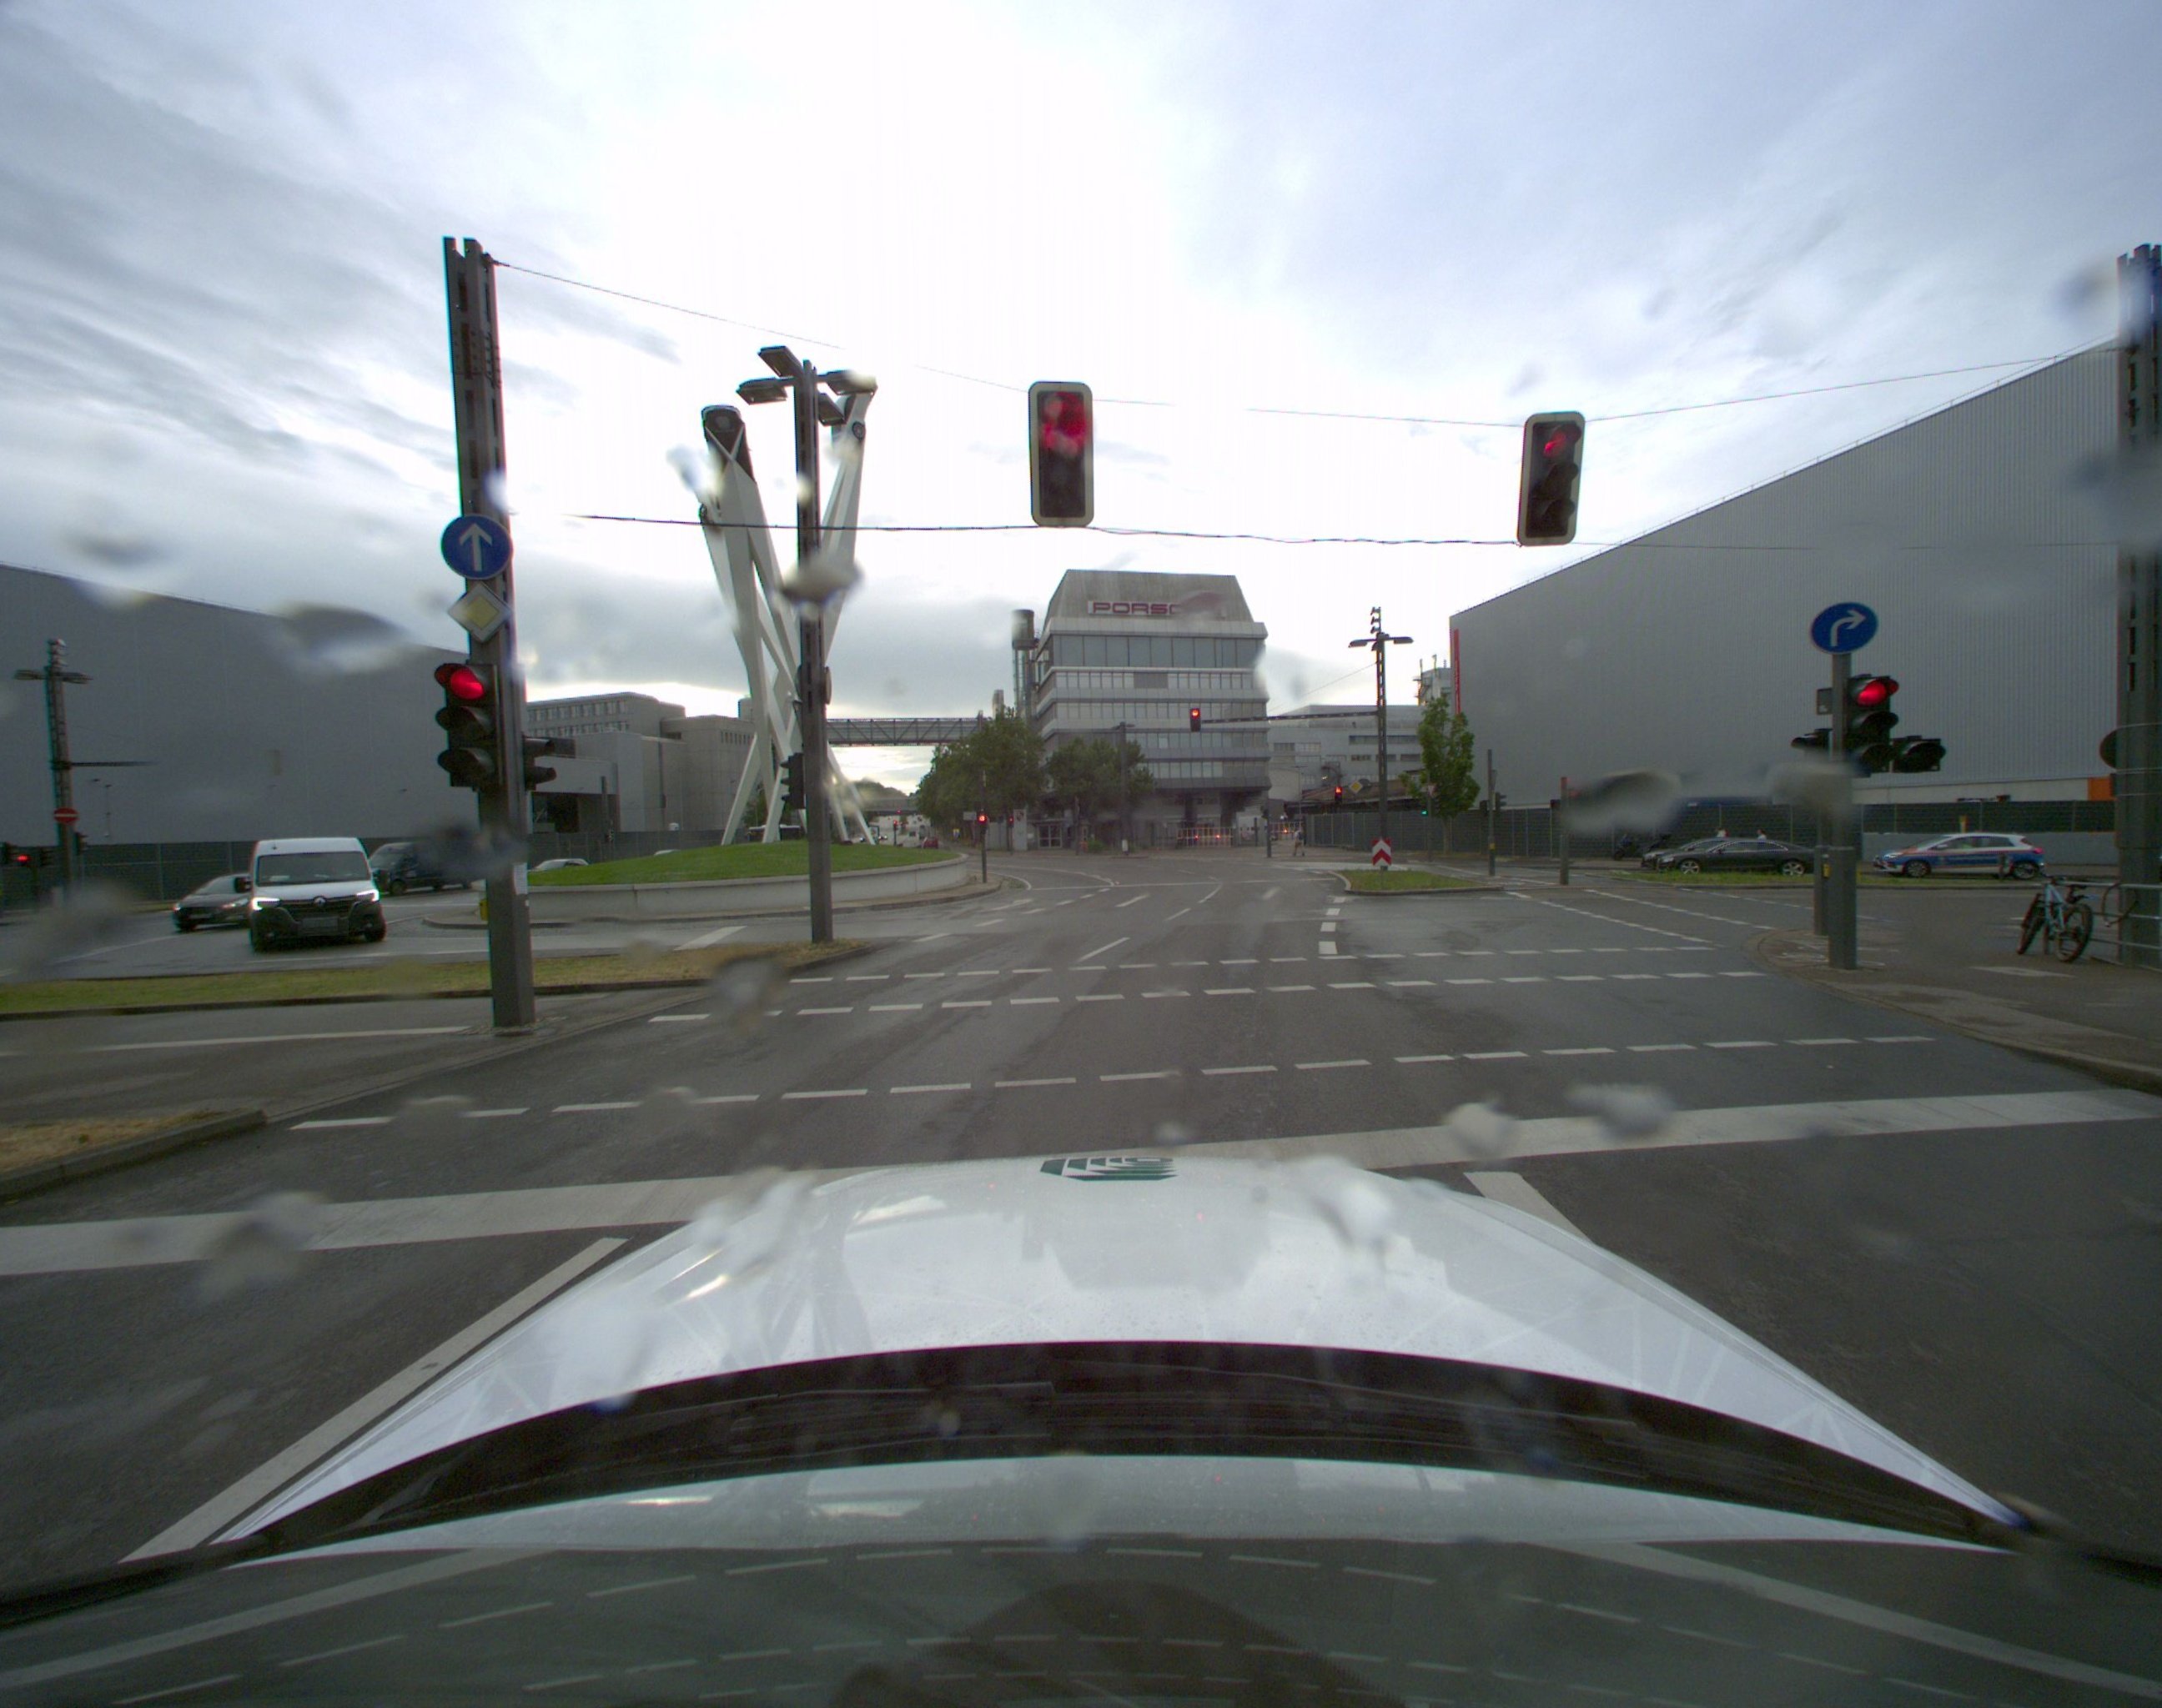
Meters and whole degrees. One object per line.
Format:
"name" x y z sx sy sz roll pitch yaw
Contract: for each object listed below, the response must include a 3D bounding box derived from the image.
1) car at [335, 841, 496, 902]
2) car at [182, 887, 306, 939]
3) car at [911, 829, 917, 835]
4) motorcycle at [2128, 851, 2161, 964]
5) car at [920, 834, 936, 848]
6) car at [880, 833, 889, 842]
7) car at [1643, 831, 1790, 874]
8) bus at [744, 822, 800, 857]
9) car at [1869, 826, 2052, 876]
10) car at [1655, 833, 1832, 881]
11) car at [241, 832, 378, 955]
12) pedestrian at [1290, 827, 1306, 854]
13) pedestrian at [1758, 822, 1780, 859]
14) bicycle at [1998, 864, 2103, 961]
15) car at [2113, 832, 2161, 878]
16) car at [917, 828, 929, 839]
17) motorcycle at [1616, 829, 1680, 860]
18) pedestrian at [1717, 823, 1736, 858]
"car" -33.997 0.784 42.040 1.957 2.820 7.137 -2 0 4
"car" -27.210 1.854 26.656 1.846 1.338 4.440 -2 0 -33
"car" -42.102 -5.591 205.255 1.558 1.288 3.399 -2 -1 -12
"motorcycle" 15.132 0.681 10.377 2.213 1.452 0.759 -1 0 12
"car" -18.639 -1.586 99.100 1.773 1.464 3.718 -2 -1 -11
"car" -41.111 -3.407 170.513 1.629 1.816 3.717 -1 1 -13
"car" 24.116 -0.102 31.122 4.244 1.539 1.769 0 2 31
"bus" -30.847 -1.403 81.980 2.668 3.200 12.630 -1 0 -9
"car" 30.185 -0.127 28.140 3.930 1.601 1.924 0 1 31
"car" 22.621 0.071 28.046 4.525 1.539 1.769 0 2 31
"car" -17.955 0.817 19.004 2.012 2.447 5.360 -2 1 -44
"pedestrian" 13.136 -0.803 49.307 0.801 1.611 0.773 -2 -1 19
"pedestrian" 28.446 -0.556 33.663 0.642 1.481 0.442 -1 0 35
"bicycle" 12.377 0.710 10.442 0.381 1.098 1.762 -2 0 35
"car" 35.276 0.019 25.086 3.949 1.392 1.769 0 2 31
"car" -33.151 -4.332 170.990 2.235 2.108 4.931 -2 -1 -14
"motorcycle" 25.687 -0.428 36.948 2.330 1.344 0.657 -1 0 30
"pedestrian" 27.614 -0.572 34.850 0.605 1.481 0.426 -1 0 37
